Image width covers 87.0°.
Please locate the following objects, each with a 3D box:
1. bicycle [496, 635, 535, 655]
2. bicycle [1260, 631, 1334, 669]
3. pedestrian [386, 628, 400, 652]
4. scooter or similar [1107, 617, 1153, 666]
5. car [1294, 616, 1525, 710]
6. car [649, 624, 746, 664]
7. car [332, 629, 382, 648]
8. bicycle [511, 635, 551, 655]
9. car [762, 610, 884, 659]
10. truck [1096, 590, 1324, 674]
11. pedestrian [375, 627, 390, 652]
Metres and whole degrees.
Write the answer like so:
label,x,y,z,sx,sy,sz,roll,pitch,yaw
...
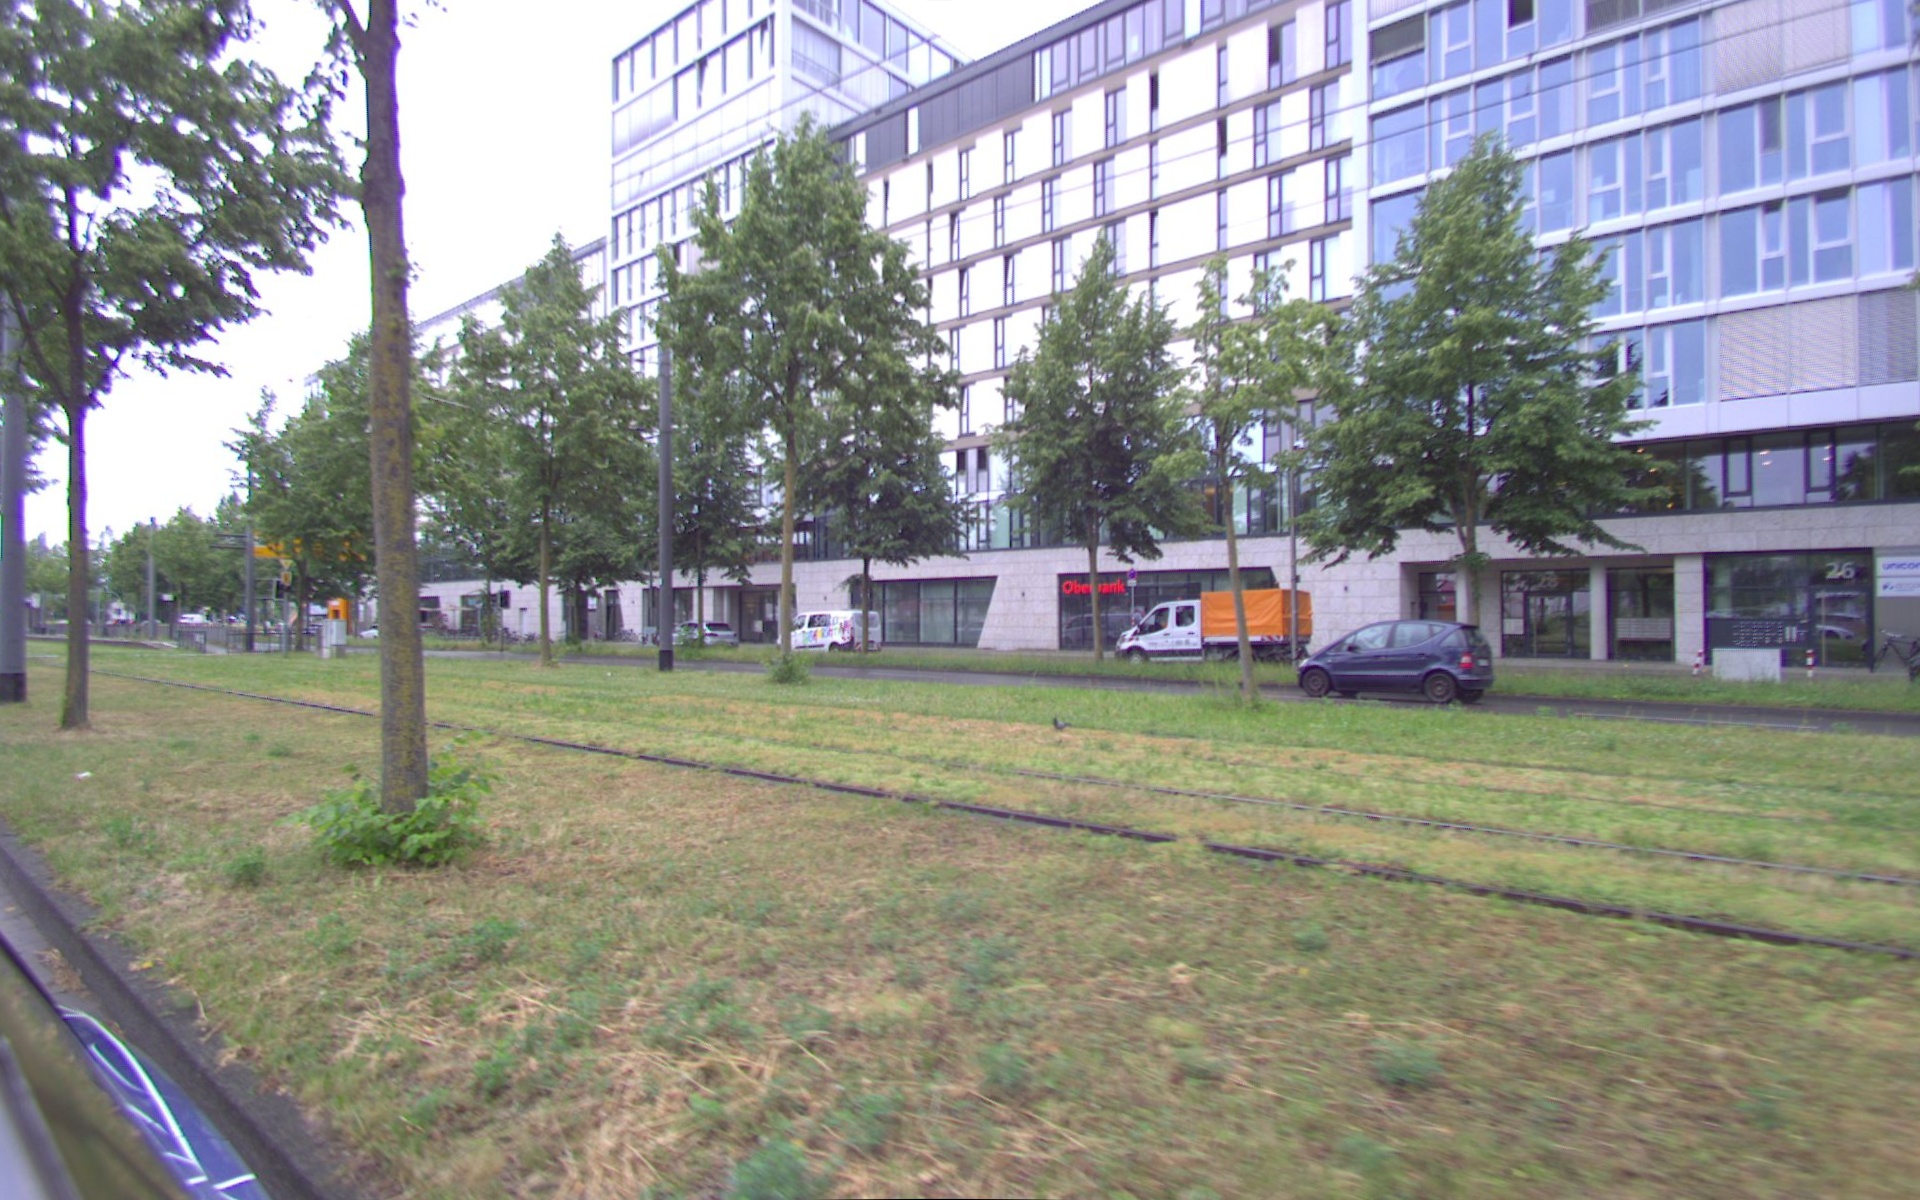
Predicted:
label,x,y,z,sx,sy,sz,roll,pitch,yaw
bicycle,-25.383,2.557,57.789,0.696,1.042,1.957,-2,-1,42
bicycle,8.778,1.285,26.395,1.757,0.952,0.592,-2,-2,44
pedestrian,-40.283,2.834,71.912,0.793,1.704,0.703,-2,-1,43
scooter or similar,6.692,1.598,39.736,0.883,1.838,2.105,-2,-1,36
car,8.840,1.169,20.068,1.970,1.669,3.702,1,-2,-44
car,-12.120,2.012,46.601,4.460,1.725,2.123,-2,-1,40
car,-43.341,2.751,72.706,4.069,1.298,1.972,-1,-1,42
bicycle,-23.929,2.510,56.535,0.696,1.042,1.957,-2,-1,42
car,-5.620,1.366,41.164,5.160,1.866,1.973,-2,-1,40
truck,7.437,0.941,30.616,6.304,2.309,2.401,-2,-1,40
pedestrian,-40.657,2.788,71.214,0.793,1.704,0.703,-2,-1,43
